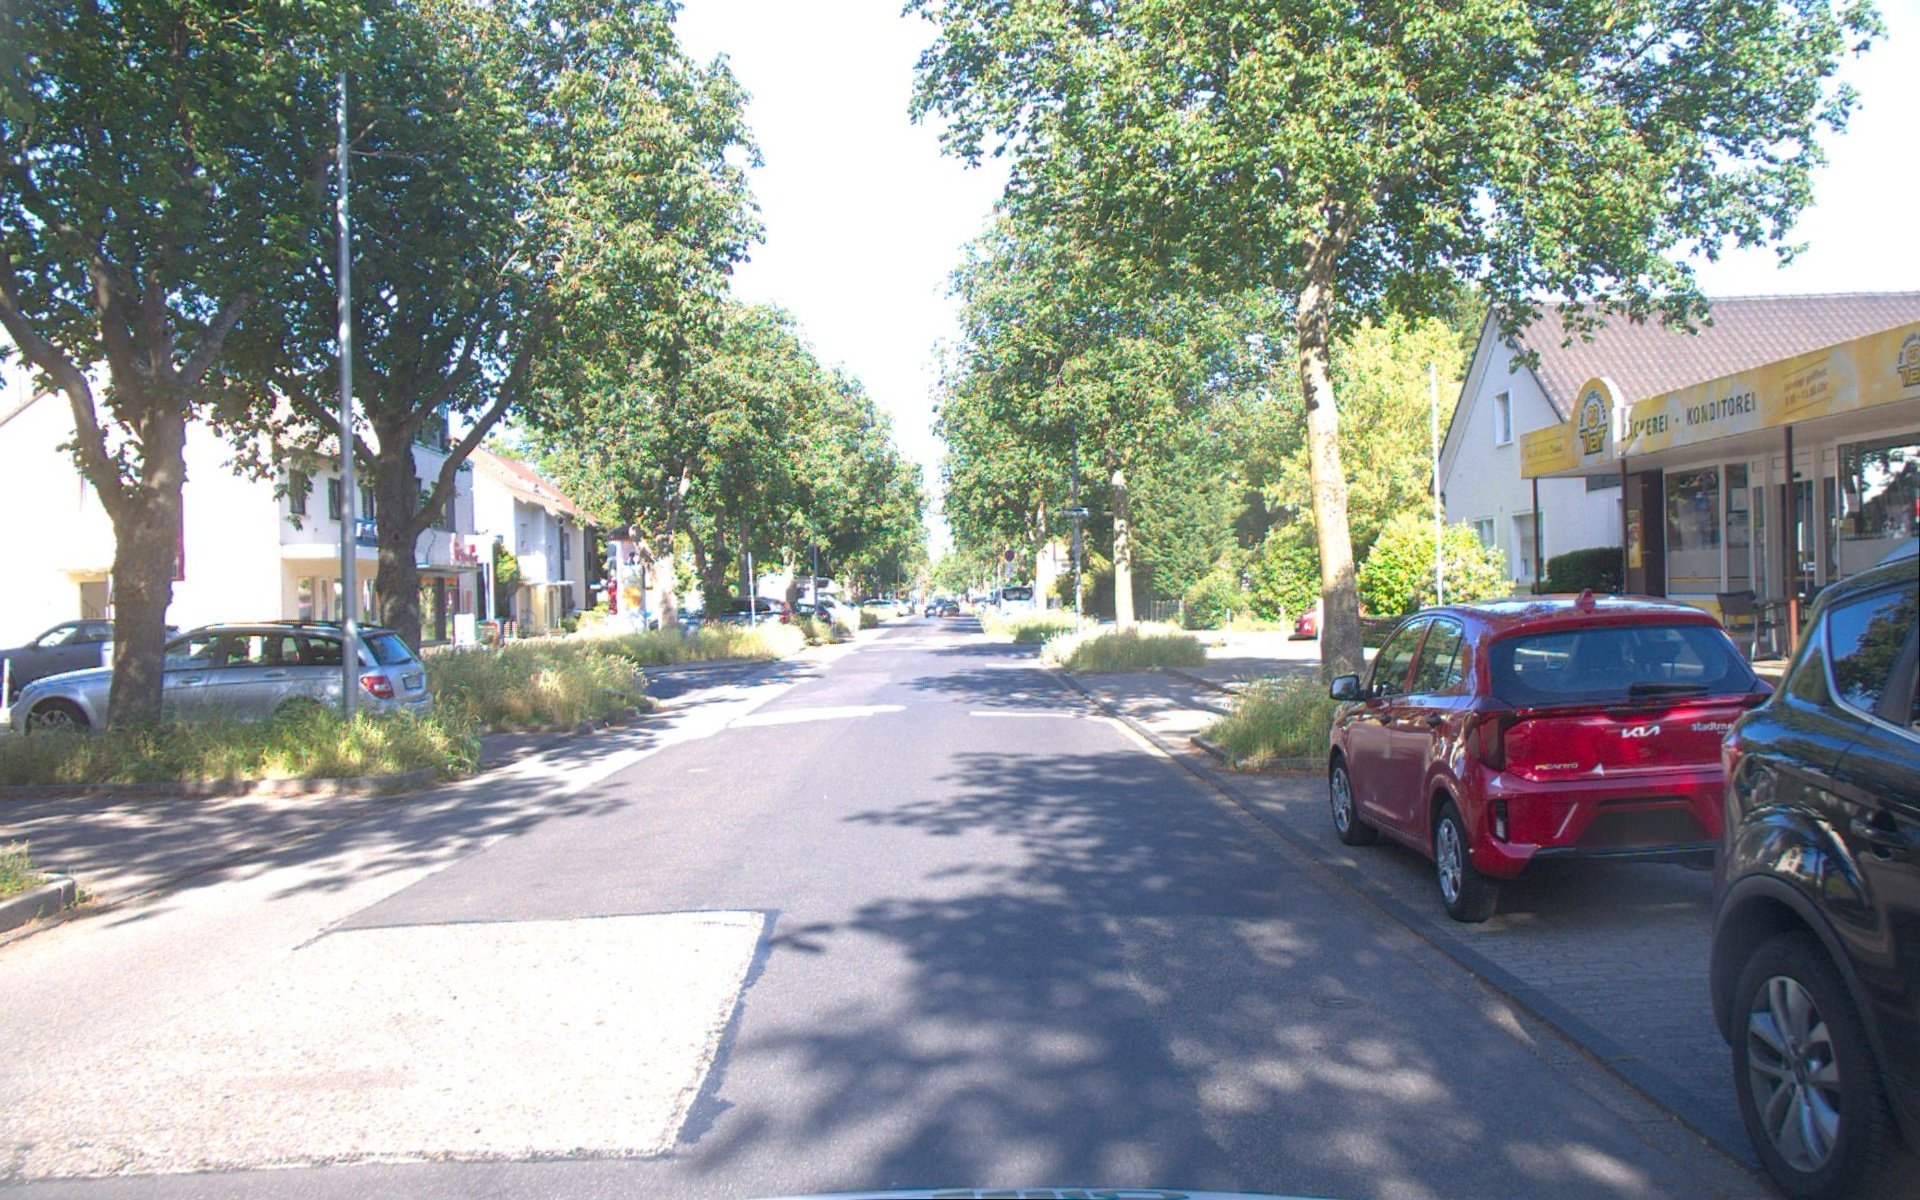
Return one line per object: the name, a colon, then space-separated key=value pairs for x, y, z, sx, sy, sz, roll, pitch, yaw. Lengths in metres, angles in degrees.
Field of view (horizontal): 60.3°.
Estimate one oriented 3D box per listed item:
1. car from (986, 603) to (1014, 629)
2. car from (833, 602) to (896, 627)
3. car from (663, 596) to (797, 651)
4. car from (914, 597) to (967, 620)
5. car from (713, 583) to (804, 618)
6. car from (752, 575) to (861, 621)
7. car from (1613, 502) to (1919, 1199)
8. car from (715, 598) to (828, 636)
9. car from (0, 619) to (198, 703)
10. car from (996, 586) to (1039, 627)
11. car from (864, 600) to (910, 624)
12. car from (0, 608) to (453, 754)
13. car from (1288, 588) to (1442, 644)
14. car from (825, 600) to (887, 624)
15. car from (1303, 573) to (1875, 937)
car: x=2.715 y=1.093 z=113.796 sx=1.864 sy=1.805 sz=4.301 roll=0 pitch=0 yaw=0
car: x=-5.681 y=0.873 z=98.628 sx=3.624 sy=1.471 sz=1.665 roll=0 pitch=0 yaw=3
car: x=-7.826 y=0.793 z=56.660 sx=4.457 sy=1.796 sz=1.998 roll=0 pitch=1 yaw=-5
car: x=-1.494 y=0.671 z=128.626 sx=1.965 sy=1.672 sz=3.974 roll=1 pitch=2 yaw=43
car: x=-9.132 y=0.038 z=75.117 sx=3.794 sy=1.505 sz=1.894 roll=1 pitch=0 yaw=2
car: x=-7.814 y=-0.127 z=84.484 sx=5.387 sy=2.286 sz=2.516 roll=0 pitch=1 yaw=-2
car: x=2.968 y=0.563 z=2.842 sx=1.815 sy=1.654 sz=4.468 roll=-3 pitch=-1 yaw=-1
car: x=-7.097 y=0.635 z=62.686 sx=4.203 sy=1.338 sz=1.907 roll=0 pitch=1 yaw=-5
car: x=-19.070 y=1.287 z=35.523 sx=4.465 sy=1.646 sz=1.999 roll=0 pitch=1 yaw=-4
car: x=2.593 y=0.313 z=75.480 sx=1.864 sy=1.805 sz=4.301 roll=0 pitch=0 yaw=0
car: x=-6.533 y=1.069 z=147.509 sx=3.903 sy=2.048 sz=2.001 roll=0 pitch=1 yaw=4
car: x=-8.369 y=0.893 z=19.079 sx=4.461 sy=1.537 sz=1.841 roll=0 pitch=1 yaw=-1
car: x=12.259 y=0.473 z=50.229 sx=4.199 sy=1.637 sz=2.000 roll=0 pitch=1 yaw=0
car: x=-6.370 y=0.749 z=101.279 sx=3.624 sy=1.471 sz=1.665 roll=0 pitch=0 yaw=3
car: x=3.174 y=0.693 z=9.233 sx=1.662 sy=1.504 sz=3.888 roll=-3 pitch=0 yaw=0
